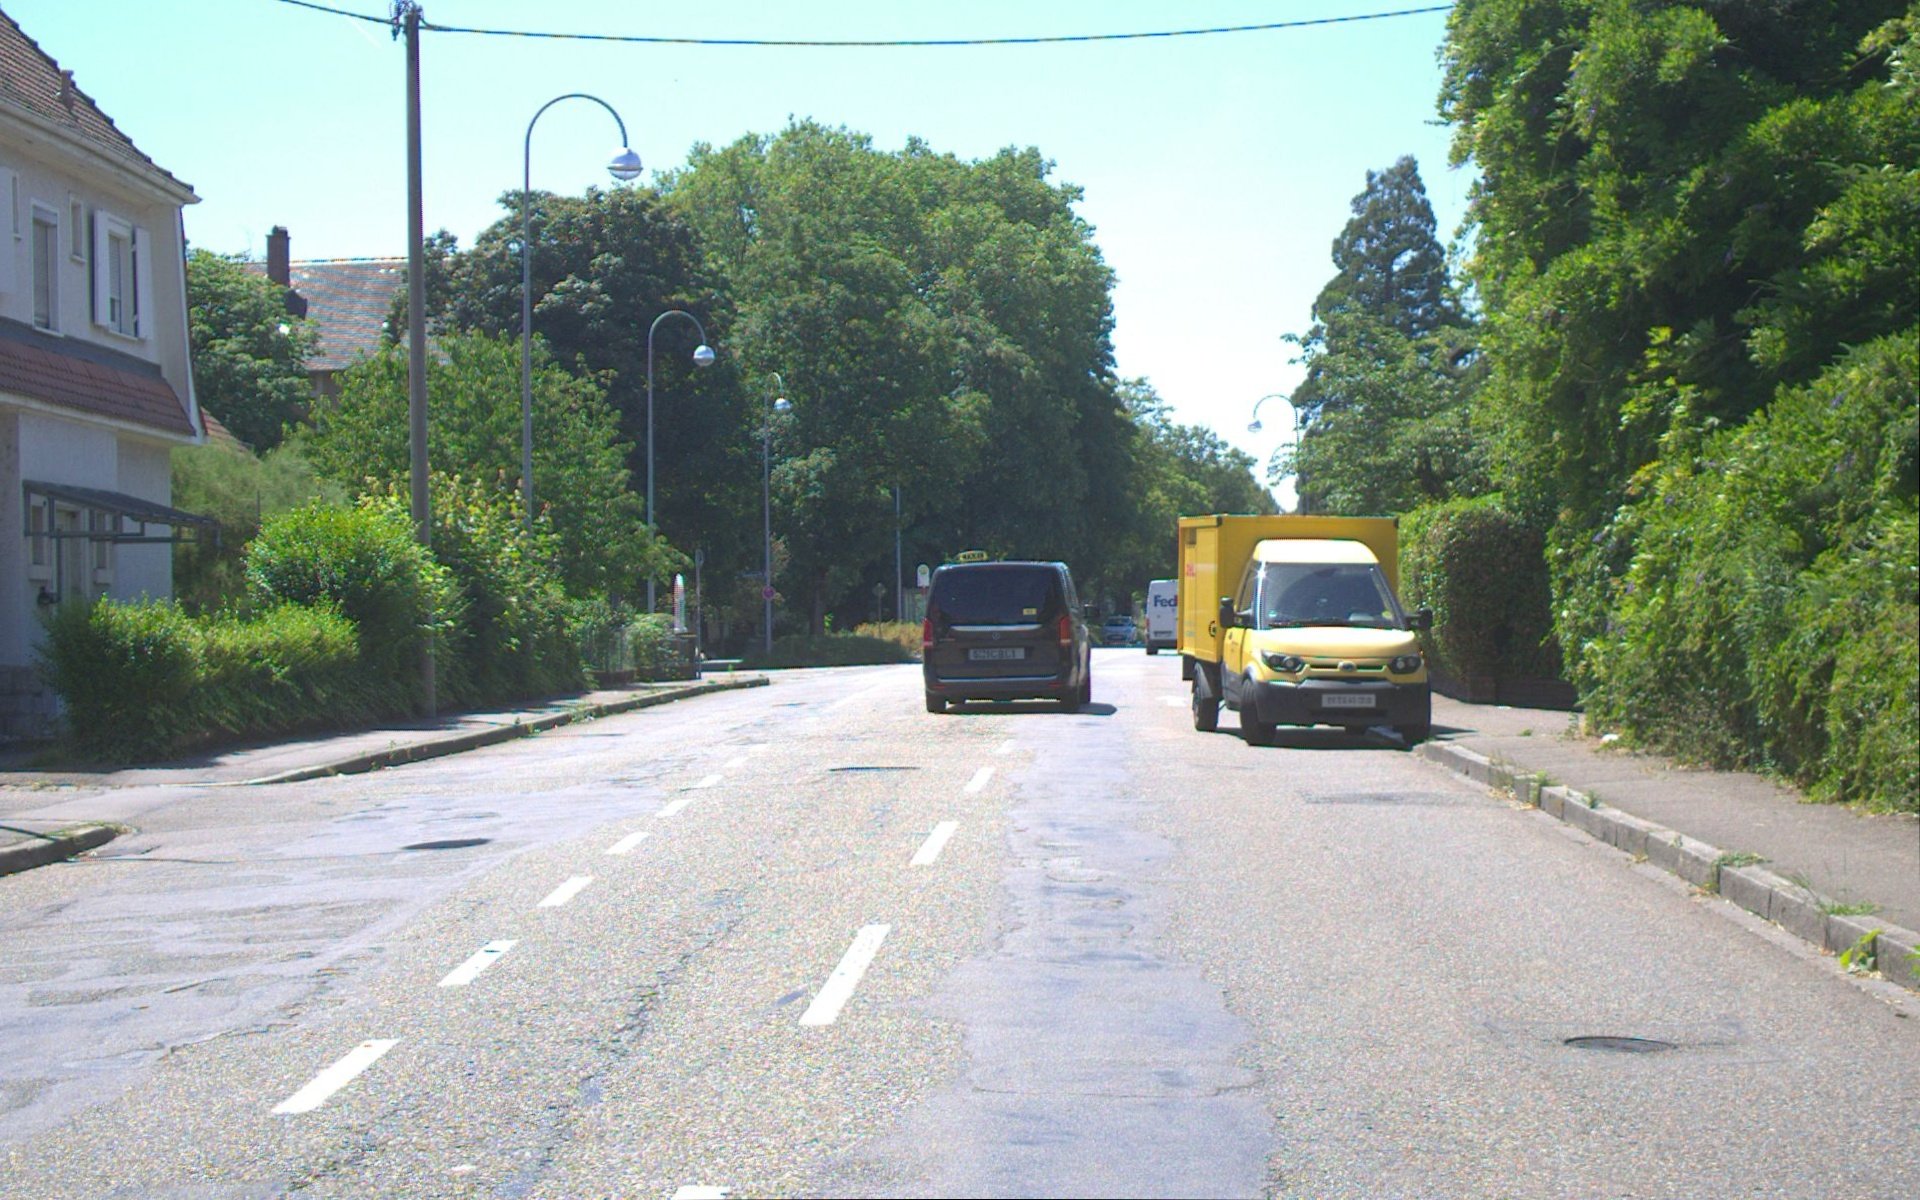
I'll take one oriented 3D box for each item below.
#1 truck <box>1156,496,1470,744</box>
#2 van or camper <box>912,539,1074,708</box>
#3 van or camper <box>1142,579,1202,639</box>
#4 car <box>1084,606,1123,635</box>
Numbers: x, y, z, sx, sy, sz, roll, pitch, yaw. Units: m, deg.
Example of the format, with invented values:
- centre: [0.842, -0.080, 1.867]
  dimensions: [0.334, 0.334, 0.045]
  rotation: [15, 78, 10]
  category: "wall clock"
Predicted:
- centre: [3.442, 0.180, 34.855]
  dimensions: [2.355, 2.251, 6.092]
  rotation: [-1, 0, -2]
  category: "truck"
- centre: [0.479, 0.266, 43.448]
  dimensions: [1.903, 2.007, 5.269]
  rotation: [0, 0, 2]
  category: "van or camper"
- centre: [7.363, 0.315, 119.013]
  dimensions: [1.994, 2.007, 3.999]
  rotation: [-1, 0, 4]
  category: "van or camper"
- centre: [7.450, 1.078, 178.441]
  dimensions: [1.549, 1.444, 3.004]
  rotation: [-1, 0, 11]
  category: "car"
